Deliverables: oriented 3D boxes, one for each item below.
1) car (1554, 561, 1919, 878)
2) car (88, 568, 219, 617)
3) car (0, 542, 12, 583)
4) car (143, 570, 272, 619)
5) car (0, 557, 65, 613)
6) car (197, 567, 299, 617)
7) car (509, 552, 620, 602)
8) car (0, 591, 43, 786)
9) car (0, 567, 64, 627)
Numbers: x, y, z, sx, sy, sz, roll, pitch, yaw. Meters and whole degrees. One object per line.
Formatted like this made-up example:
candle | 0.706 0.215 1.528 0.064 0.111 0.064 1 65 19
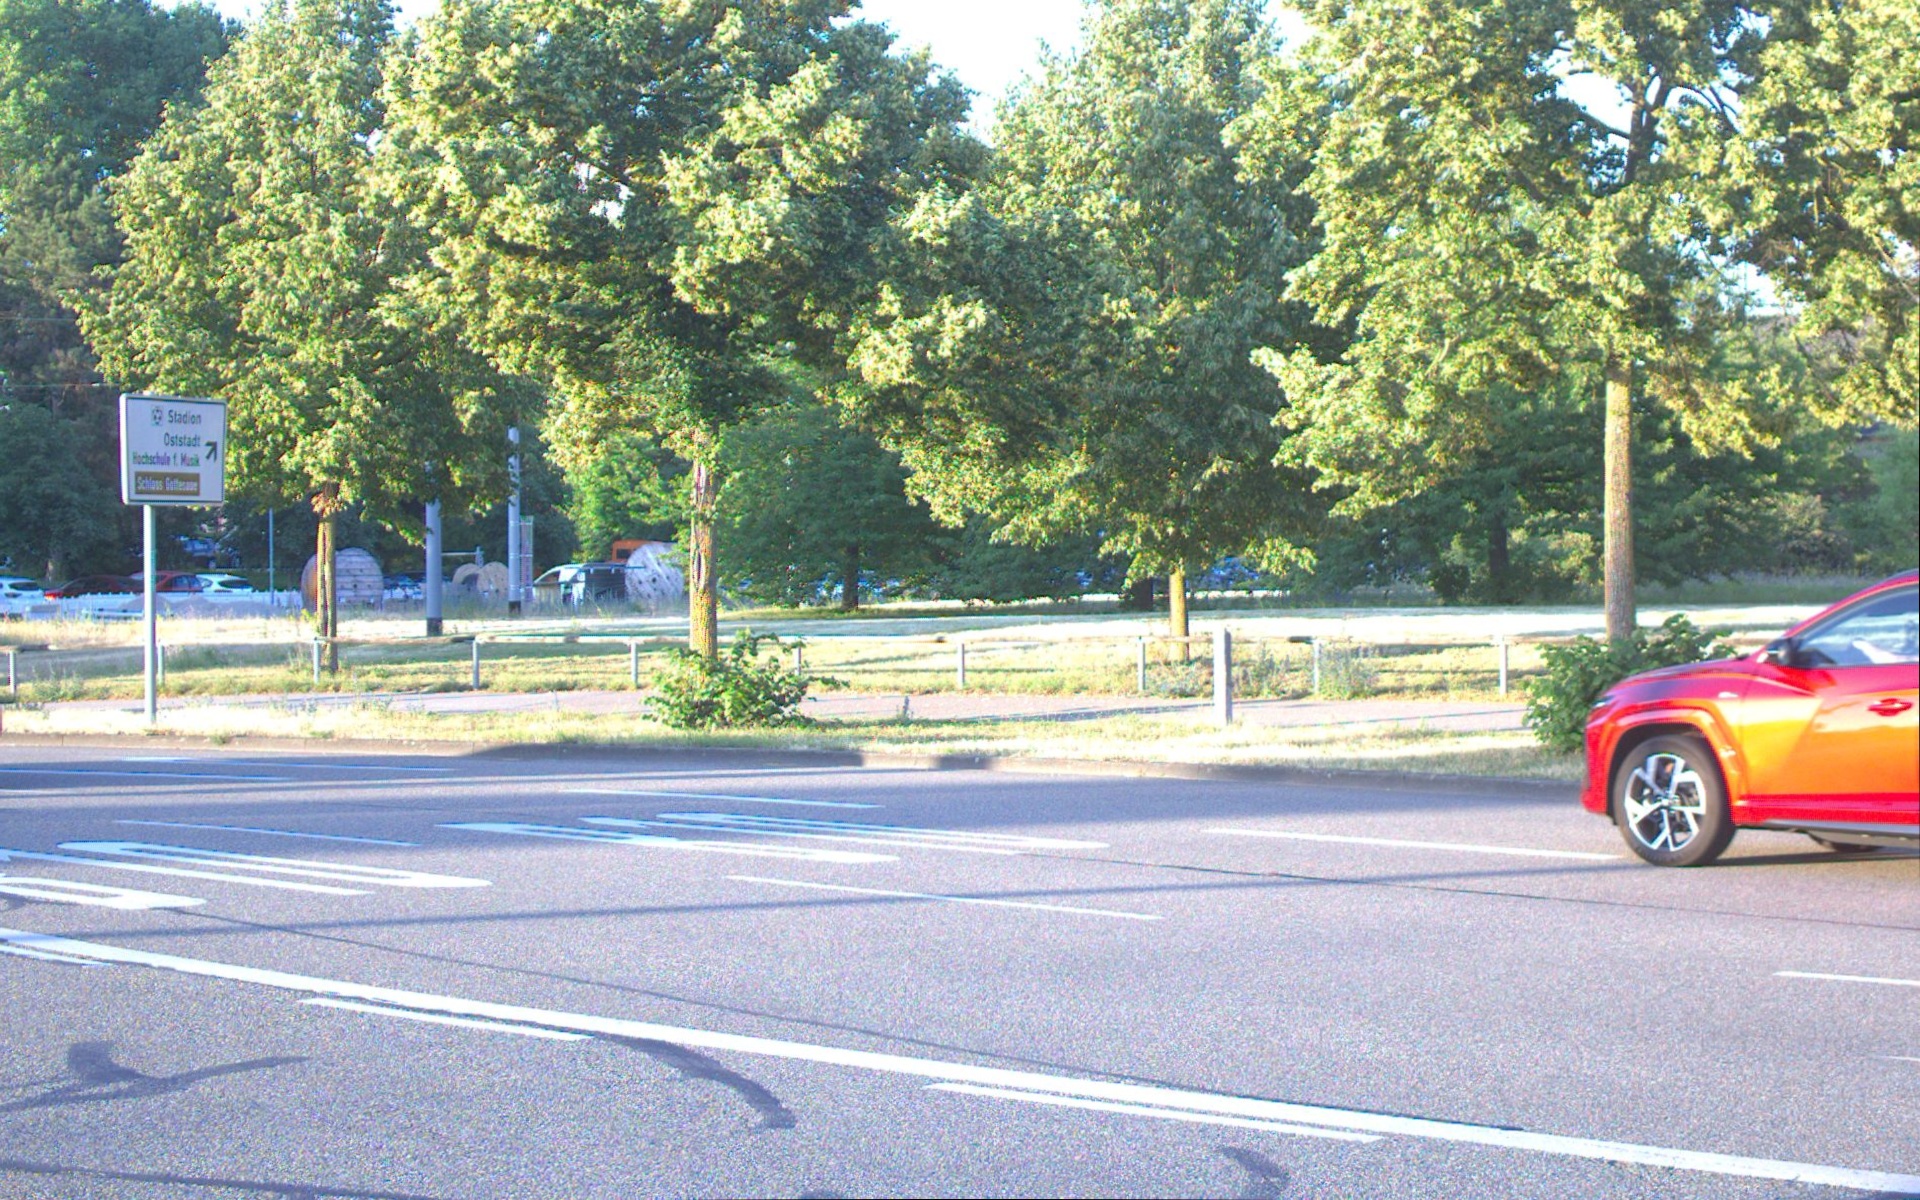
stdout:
car | 5.474 0.591 17.938 1.994 1.568 4.414 -1 1 -41
car | -26.771 -0.264 114.104 3.994 1.598 1.996 0 1 33
car | -42.407 -1.581 145.374 3.988 1.700 2.000 0 1 7
car | -25.367 -0.209 115.834 3.994 1.598 1.996 0 1 33
car | -35.229 -0.554 125.817 4.582 2.007 2.001 -1 1 -9
car | -26.815 -0.324 129.313 1.994 1.746 4.597 -1 2 -37
car | -13.225 -0.779 114.892 1.734 1.612 3.998 -1 1 -41
car | -9.499 0.669 26.560 4.663 1.459 1.884 0 1 29
car | -33.144 -0.097 117.684 4.582 2.007 2.001 -1 1 -9
